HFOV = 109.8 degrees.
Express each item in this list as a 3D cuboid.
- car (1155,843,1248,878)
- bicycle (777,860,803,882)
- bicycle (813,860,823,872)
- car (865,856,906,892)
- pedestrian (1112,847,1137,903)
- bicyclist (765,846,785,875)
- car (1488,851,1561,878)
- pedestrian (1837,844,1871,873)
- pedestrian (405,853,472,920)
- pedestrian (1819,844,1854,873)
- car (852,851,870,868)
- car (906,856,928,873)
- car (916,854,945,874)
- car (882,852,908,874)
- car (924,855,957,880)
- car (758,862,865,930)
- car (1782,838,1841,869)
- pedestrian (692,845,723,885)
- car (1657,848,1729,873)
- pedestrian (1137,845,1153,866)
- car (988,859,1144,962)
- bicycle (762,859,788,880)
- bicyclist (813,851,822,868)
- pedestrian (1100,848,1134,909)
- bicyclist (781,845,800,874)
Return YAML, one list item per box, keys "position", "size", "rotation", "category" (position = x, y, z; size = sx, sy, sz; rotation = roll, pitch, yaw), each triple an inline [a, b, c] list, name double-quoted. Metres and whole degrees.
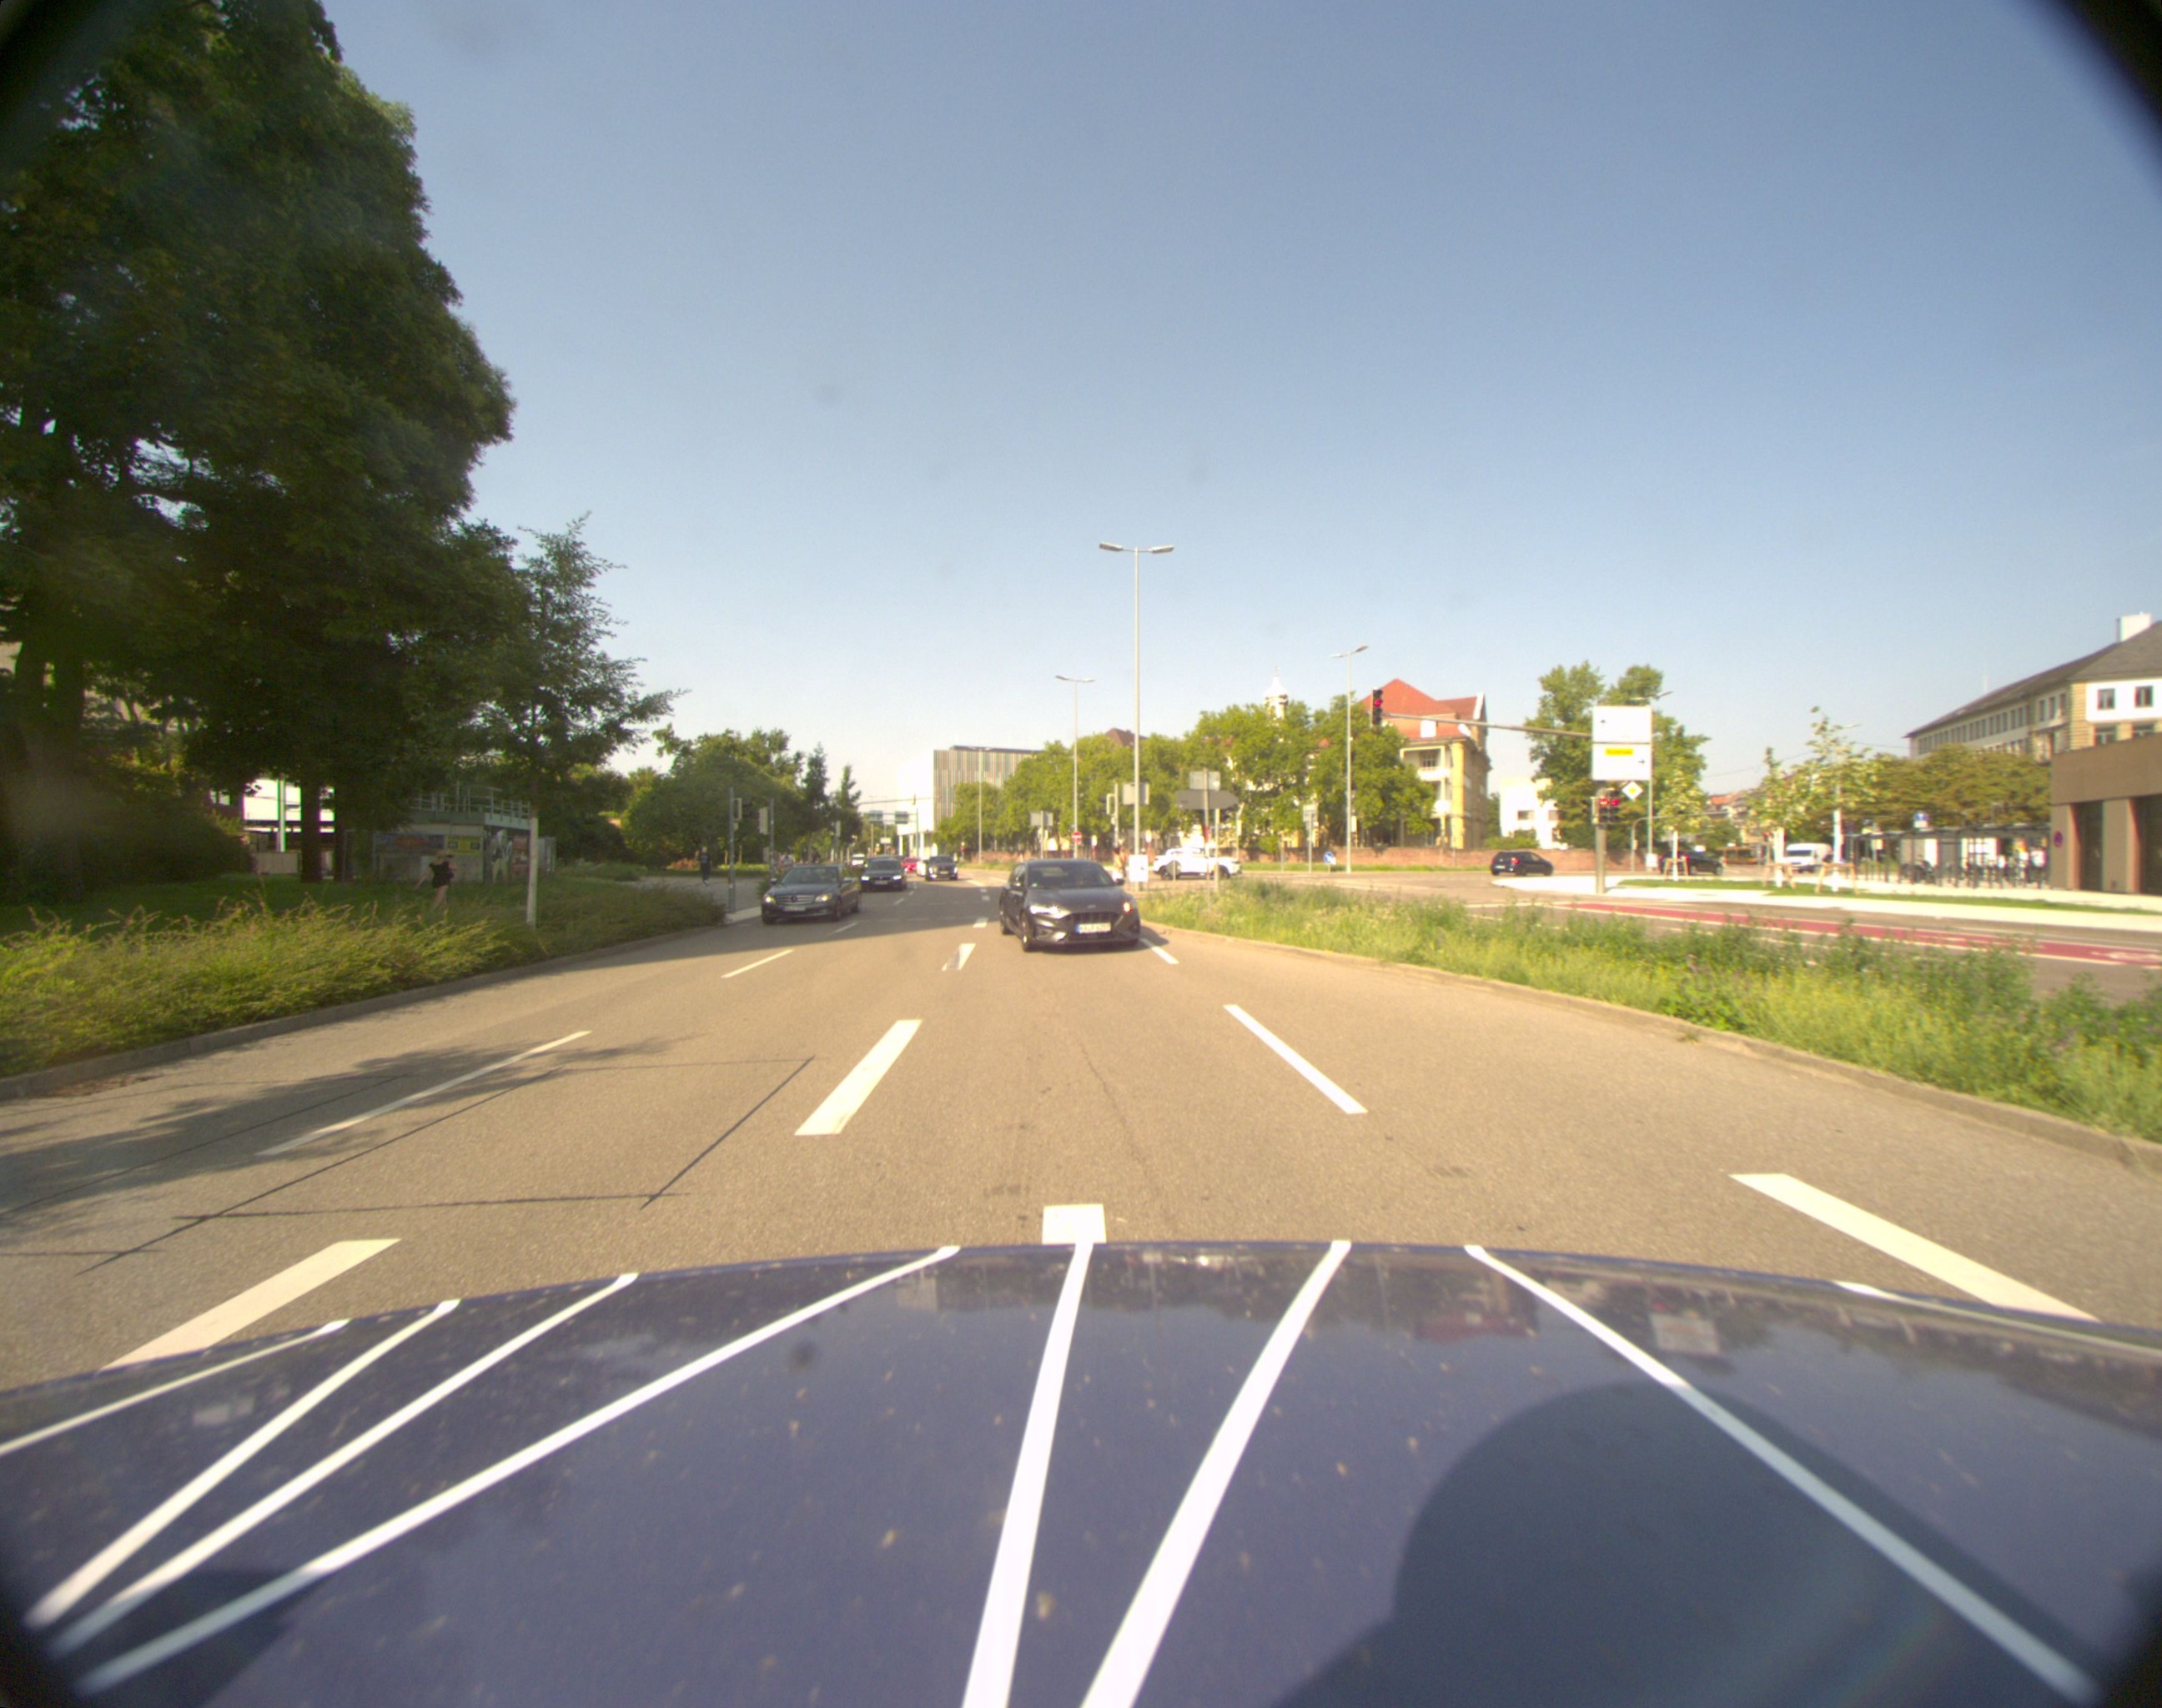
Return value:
- position: [6.194, 0.377, 39.072]
  size: [4.362, 1.623, 2.004]
  rotation: [-2, -2, 22]
  category: "car"
- position: [-15.585, 0.910, 40.727]
  size: [0.773, 1.111, 2.302]
  rotation: [0, 0, -8]
  category: "bicycle"
- position: [-25.339, 1.187, 73.078]
  size: [0.774, 1.111, 2.299]
  rotation: [-1, 1, -22]
  category: "bicycle"
- position: [-8.952, 0.862, 34.857]
  size: [1.689, 1.483, 4.667]
  rotation: [0, 0, -14]
  category: "car"
- position: [1.333, 0.636, 23.486]
  size: [0.669, 1.689, 0.691]
  rotation: [0, 1, -7]
  category: "pedestrian"
- position: [-16.914, 0.345, 42.024]
  size: [0.773, 1.584, 0.923]
  rotation: [-1, 1, -9]
  category: "bicyclist"
- position: [25.163, 0.563, 43.103]
  size: [3.855, 1.489, 1.622]
  rotation: [0, 1, -25]
  category: "car"
- position: [53.619, 0.305, 52.720]
  size: [1.344, 2.002, 1.210]
  rotation: [0, 1, -19]
  category: "pedestrian"
- position: [-14.274, 0.702, 16.902]
  size: [0.726, 1.435, 0.857]
  rotation: [0, 1, 1]
  category: "pedestrian"
- position: [51.841, 0.293, 52.162]
  size: [1.344, 2.002, 1.210]
  rotation: [0, 1, -19]
  category: "pedestrian"
- position: [-26.551, 0.635, 91.750]
  size: [1.690, 1.930, 4.364]
  rotation: [0, 0, -22]
  category: "car"
- position: [-14.964, 0.933, 69.202]
  size: [1.689, 1.483, 4.366]
  rotation: [0, 0, -15]
  category: "car"
- position: [-11.515, 0.743, 57.937]
  size: [1.785, 1.474, 4.526]
  rotation: [0, 0, -16]
  category: "car"
- position: [-13.970, 0.632, 57.021]
  size: [1.785, 1.596, 4.415]
  rotation: [0, 0, -15]
  category: "car"
- position: [-8.907, 0.803, 48.057]
  size: [1.689, 1.483, 4.366]
  rotation: [0, 0, -15]
  category: "car"
- position: [-6.841, 0.986, 19.765]
  size: [1.688, 1.434, 4.369]
  rotation: [-3, 1, -8]
  category: "car"
- position: [63.582, -0.051, 66.097]
  size: [5.559, 2.437, 1.996]
  rotation: [-3, 1, -28]
  category: "car"
- position: [-17.029, 0.502, 34.636]
  size: [0.961, 1.772, 1.002]
  rotation: [2, 0, -10]
  category: "pedestrian"
- position: [40.569, 0.408, 50.367]
  size: [4.378, 1.624, 1.996]
  rotation: [0, 0, -24]
  category: "car"
- position: [6.006, 0.143, 71.474]
  size: [1.080, 2.002, 1.316]
  rotation: [-1, 1, -16]
  category: "pedestrian"
- position: [-0.472, 0.828, 13.347]
  size: [1.839, 1.427, 4.544]
  rotation: [-1, 0, -13]
  category: "car"
- position: [-16.904, 0.841, 42.012]
  size: [0.773, 1.111, 2.302]
  rotation: [-1, 0, -9]
  category: "bicycle"
- position: [-25.337, 0.545, 73.057]
  size: [0.774, 1.666, 0.922]
  rotation: [-1, 1, -21]
  category: "bicyclist"
- position: [0.995, 0.650, 20.926]
  size: [0.667, 1.644, 0.780]
  rotation: [0, 1, 29]
  category: "pedestrian"
- position: [-15.595, 0.288, 40.786]
  size: [0.773, 1.583, 0.923]
  rotation: [0, 1, -8]
  category: "bicyclist"
